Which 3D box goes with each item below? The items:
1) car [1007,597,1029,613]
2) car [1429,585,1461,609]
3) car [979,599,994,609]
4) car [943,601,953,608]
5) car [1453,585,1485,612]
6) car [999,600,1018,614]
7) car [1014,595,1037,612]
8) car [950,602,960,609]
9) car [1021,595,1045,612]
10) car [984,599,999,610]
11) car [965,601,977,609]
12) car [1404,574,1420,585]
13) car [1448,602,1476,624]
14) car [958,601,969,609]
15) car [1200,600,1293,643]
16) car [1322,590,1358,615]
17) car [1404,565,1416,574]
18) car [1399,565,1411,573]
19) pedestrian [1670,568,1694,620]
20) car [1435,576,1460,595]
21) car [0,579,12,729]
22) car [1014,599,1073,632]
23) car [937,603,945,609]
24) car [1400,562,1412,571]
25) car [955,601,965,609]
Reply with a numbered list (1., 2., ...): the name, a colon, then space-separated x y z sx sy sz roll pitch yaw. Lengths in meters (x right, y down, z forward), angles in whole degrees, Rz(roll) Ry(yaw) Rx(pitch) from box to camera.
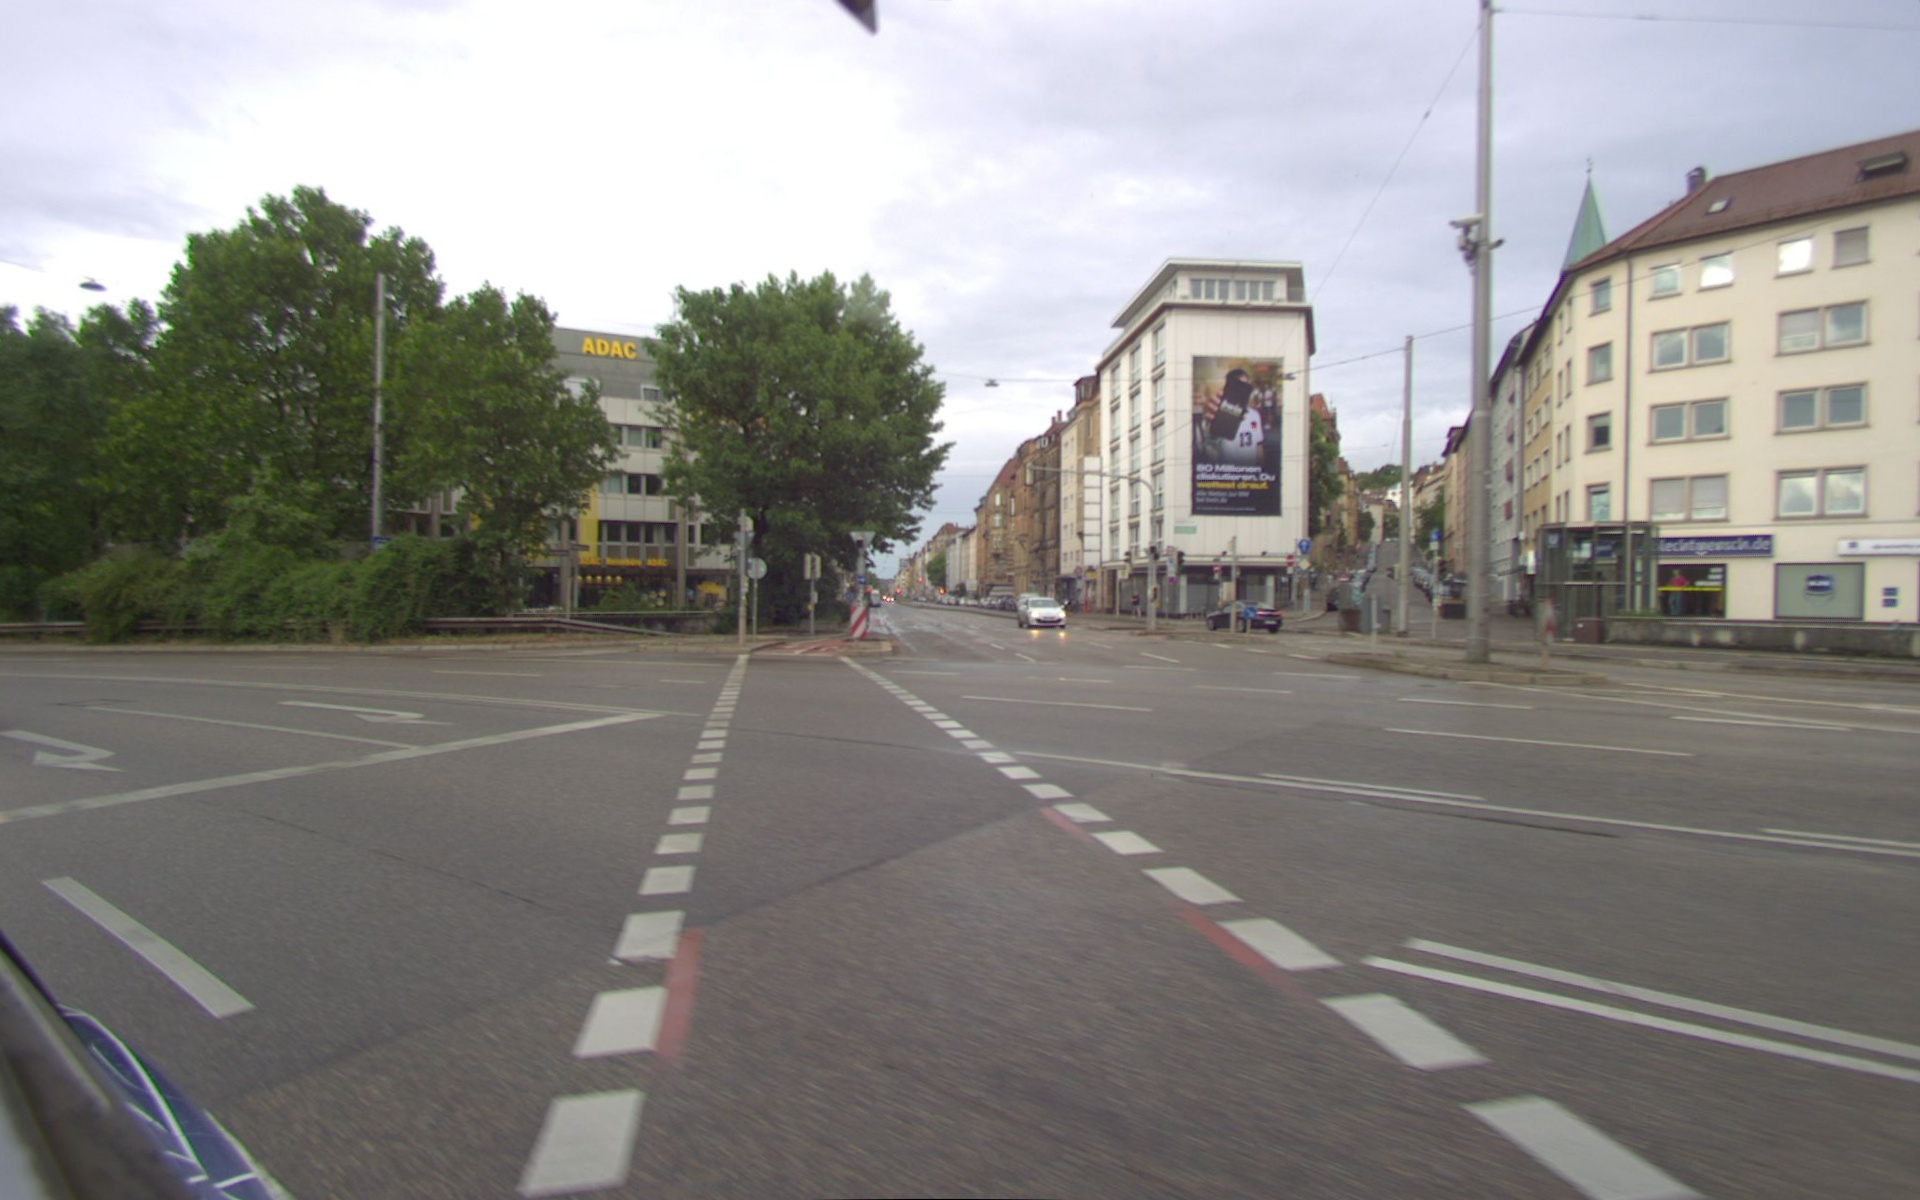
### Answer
1. car: 6.194 0.516 108.286 1.848 1.589 4.003 1 0 -3
2. car: 33.737 -0.191 70.313 1.909 1.602 3.963 1 0 27
3. car: 3.732 0.573 142.044 1.755 1.331 3.680 1 0 -2
4. car: -2.472 0.964 207.595 1.755 1.331 3.679 1 0 -2
5. car: 32.143 -0.094 63.957 1.752 1.602 3.762 1 0 27
6. car: 5.626 0.755 118.214 1.848 1.589 4.003 1 0 -3
7. car: 6.687 0.348 102.998 1.848 1.589 4.003 1 0 -3
8. car: -1.002 0.967 189.790 1.755 1.331 3.679 1 0 -2
9. car: 7.056 0.299 98.270 1.848 1.589 4.003 1 0 -3
10. car: 4.036 0.576 131.705 1.756 1.331 3.678 1 0 -1
11. car: 1.726 0.832 163.766 1.755 1.331 3.679 1 0 -2
12. car: 64.660 -2.976 144.943 1.905 1.602 3.971 0 2 22
13. car: 28.914 0.746 58.263 1.398 1.239 3.135 1 0 27
14. car: 0.580 0.780 174.793 1.755 1.331 3.679 1 0 -2
15. car: 13.131 0.962 46.629 1.966 1.857 4.454 1 0 -17
16. car: 25.785 0.167 68.602 1.909 1.602 3.963 1 0 27
17. car: 80.820 -5.476 181.816 1.905 1.602 3.971 0 2 22
18. car: 82.066 -5.721 186.585 1.905 1.602 3.971 0 2 22
19. pedestrian: 28.792 -0.243 40.343 0.559 2.029 0.678 1 0 -44
20. car: 42.844 -1.298 88.981 1.909 1.602 3.964 1 2 27
21. car: -13.803 0.702 12.482 4.105 1.813 1.780 -1 1 27
22. car: 3.852 0.682 47.241 1.970 1.462 4.234 1 0 -6
23. car: -4.255 1.261 231.077 1.755 1.331 3.679 1 0 -2
24. car: 86.337 -6.489 196.093 1.905 1.602 3.971 0 2 22
25. car: 0.029 0.886 183.504 1.755 1.331 3.679 1 0 -2
